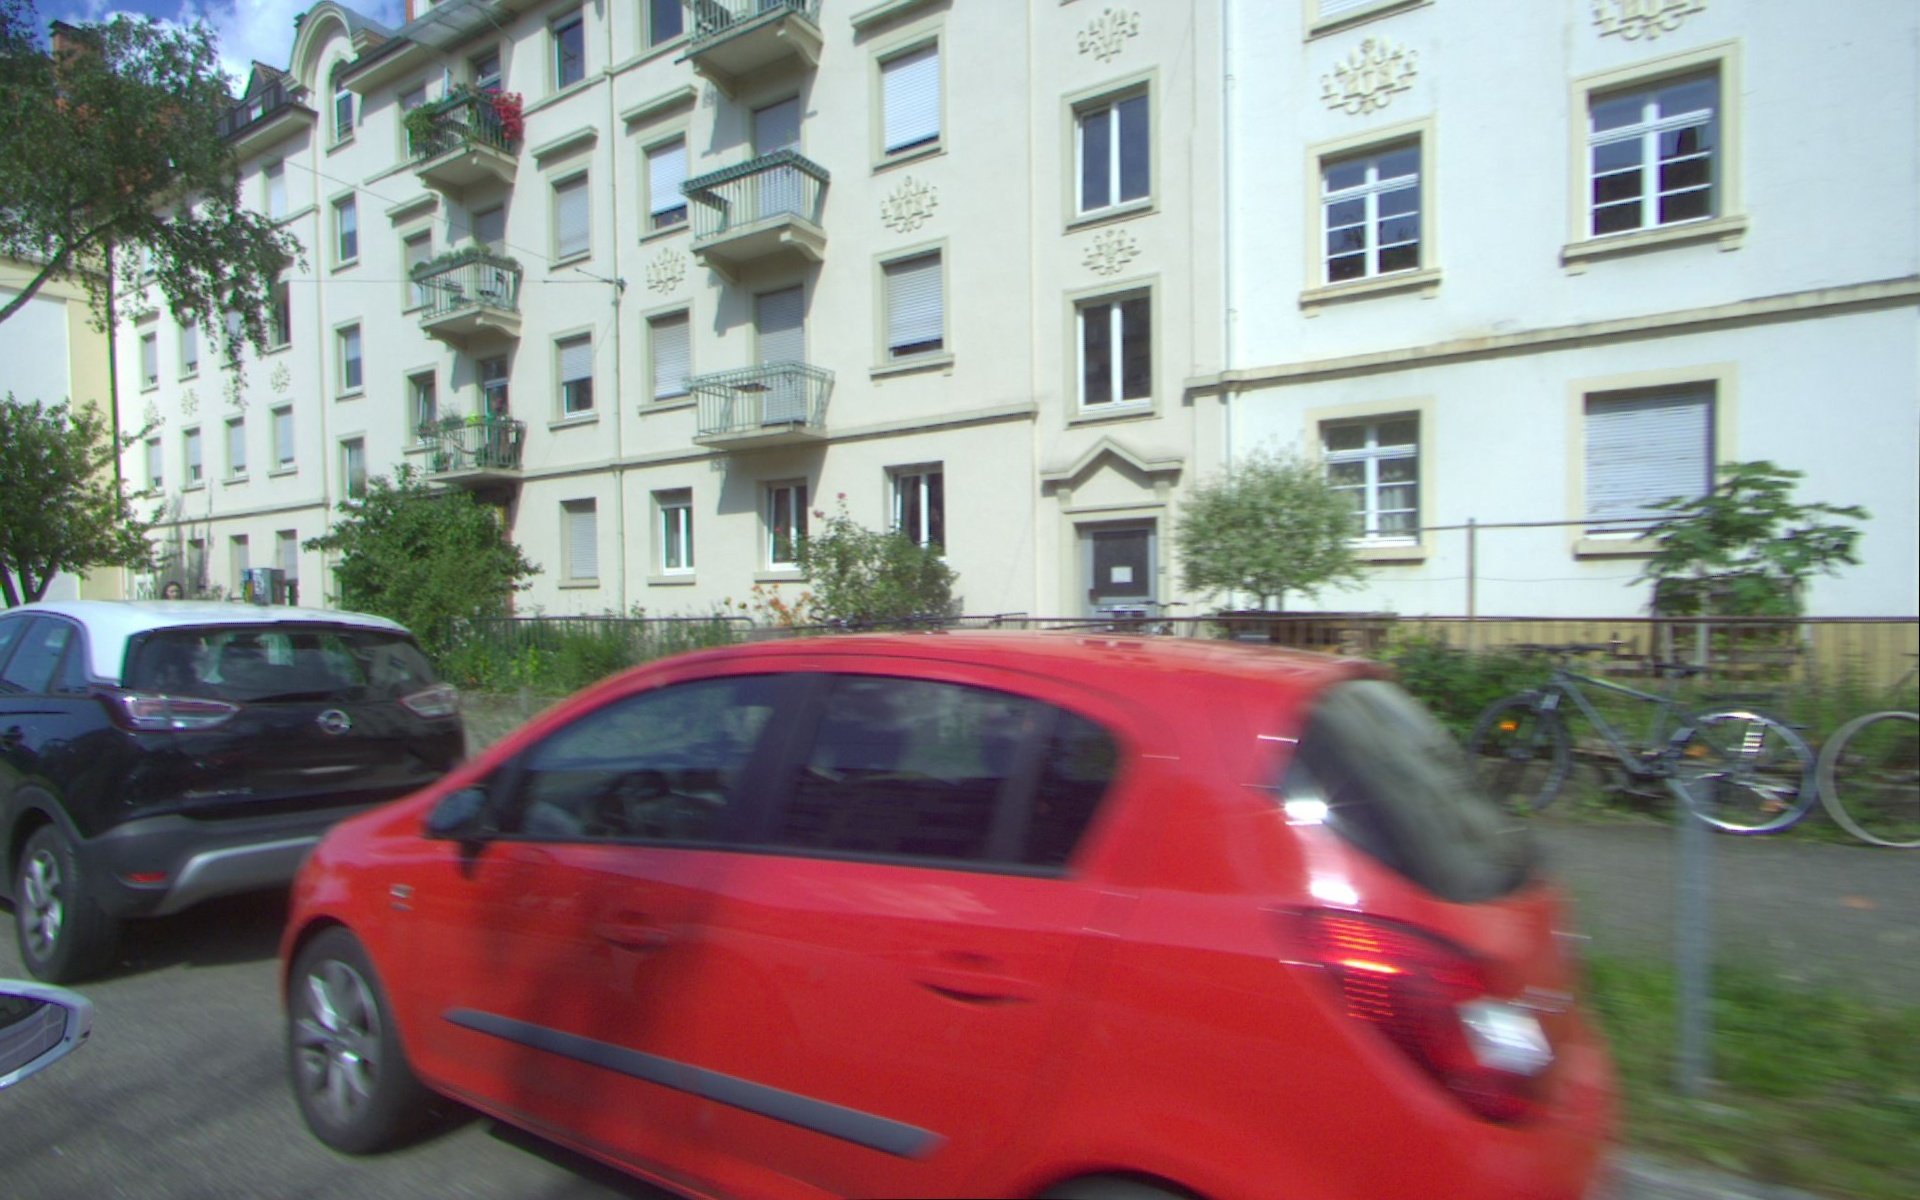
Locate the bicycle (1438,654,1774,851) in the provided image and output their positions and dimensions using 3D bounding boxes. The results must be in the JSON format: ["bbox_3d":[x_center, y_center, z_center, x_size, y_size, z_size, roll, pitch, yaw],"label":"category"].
[{"bbox_3d":[3.618,0.815,5.728,1.563,0.951,0.386,0,1,32],"label":"bicycle"}]

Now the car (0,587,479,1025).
[{"bbox_3d":[-4.347,0.778,5.279,3.704,1.599,1.491,0,-1,31],"label":"car"}]

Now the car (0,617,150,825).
[{"bbox_3d":[-8.190,0.843,7.893,3.740,1.435,1.670,0,-2,32],"label":"car"}]

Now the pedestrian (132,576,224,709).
[{"bbox_3d":[-10.446,0.542,13.392,0.681,1.706,0.727,1,4,36],"label":"pedestrian"}]

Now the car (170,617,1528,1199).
[{"bbox_3d":[-0.541,0.825,2.942,3.789,1.471,1.587,0,-3,32],"label":"car"}]

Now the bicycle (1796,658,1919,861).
[{"bbox_3d":[5.255,0.791,4.713,1.980,0.956,0.377,0,1,32],"label":"bicycle"}]
